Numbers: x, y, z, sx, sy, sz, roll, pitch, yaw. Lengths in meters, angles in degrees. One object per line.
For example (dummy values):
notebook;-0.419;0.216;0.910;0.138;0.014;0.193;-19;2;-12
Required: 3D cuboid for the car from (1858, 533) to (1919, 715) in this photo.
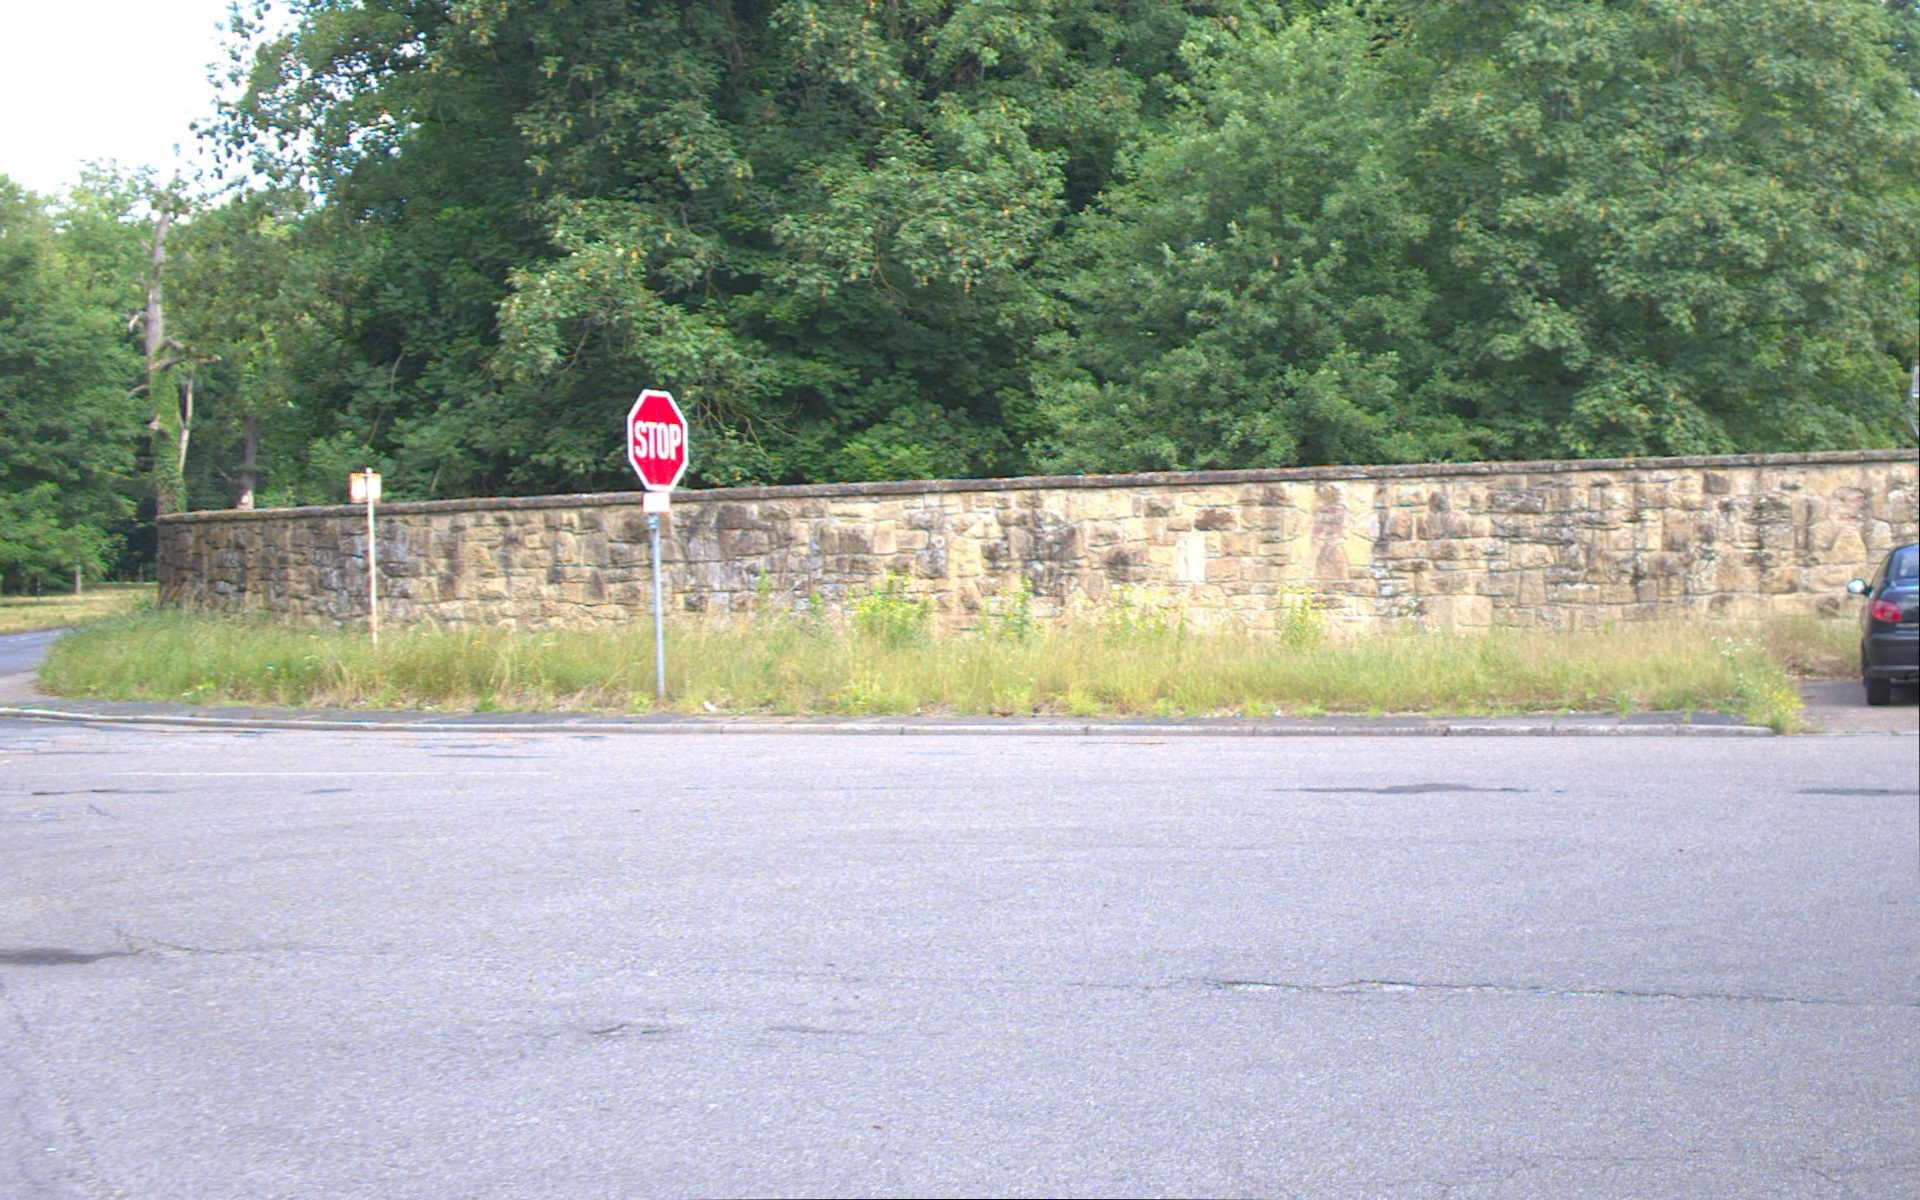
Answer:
car;9.013;0.159;30.602;1.875;1.436;3.997;-1;2;16
